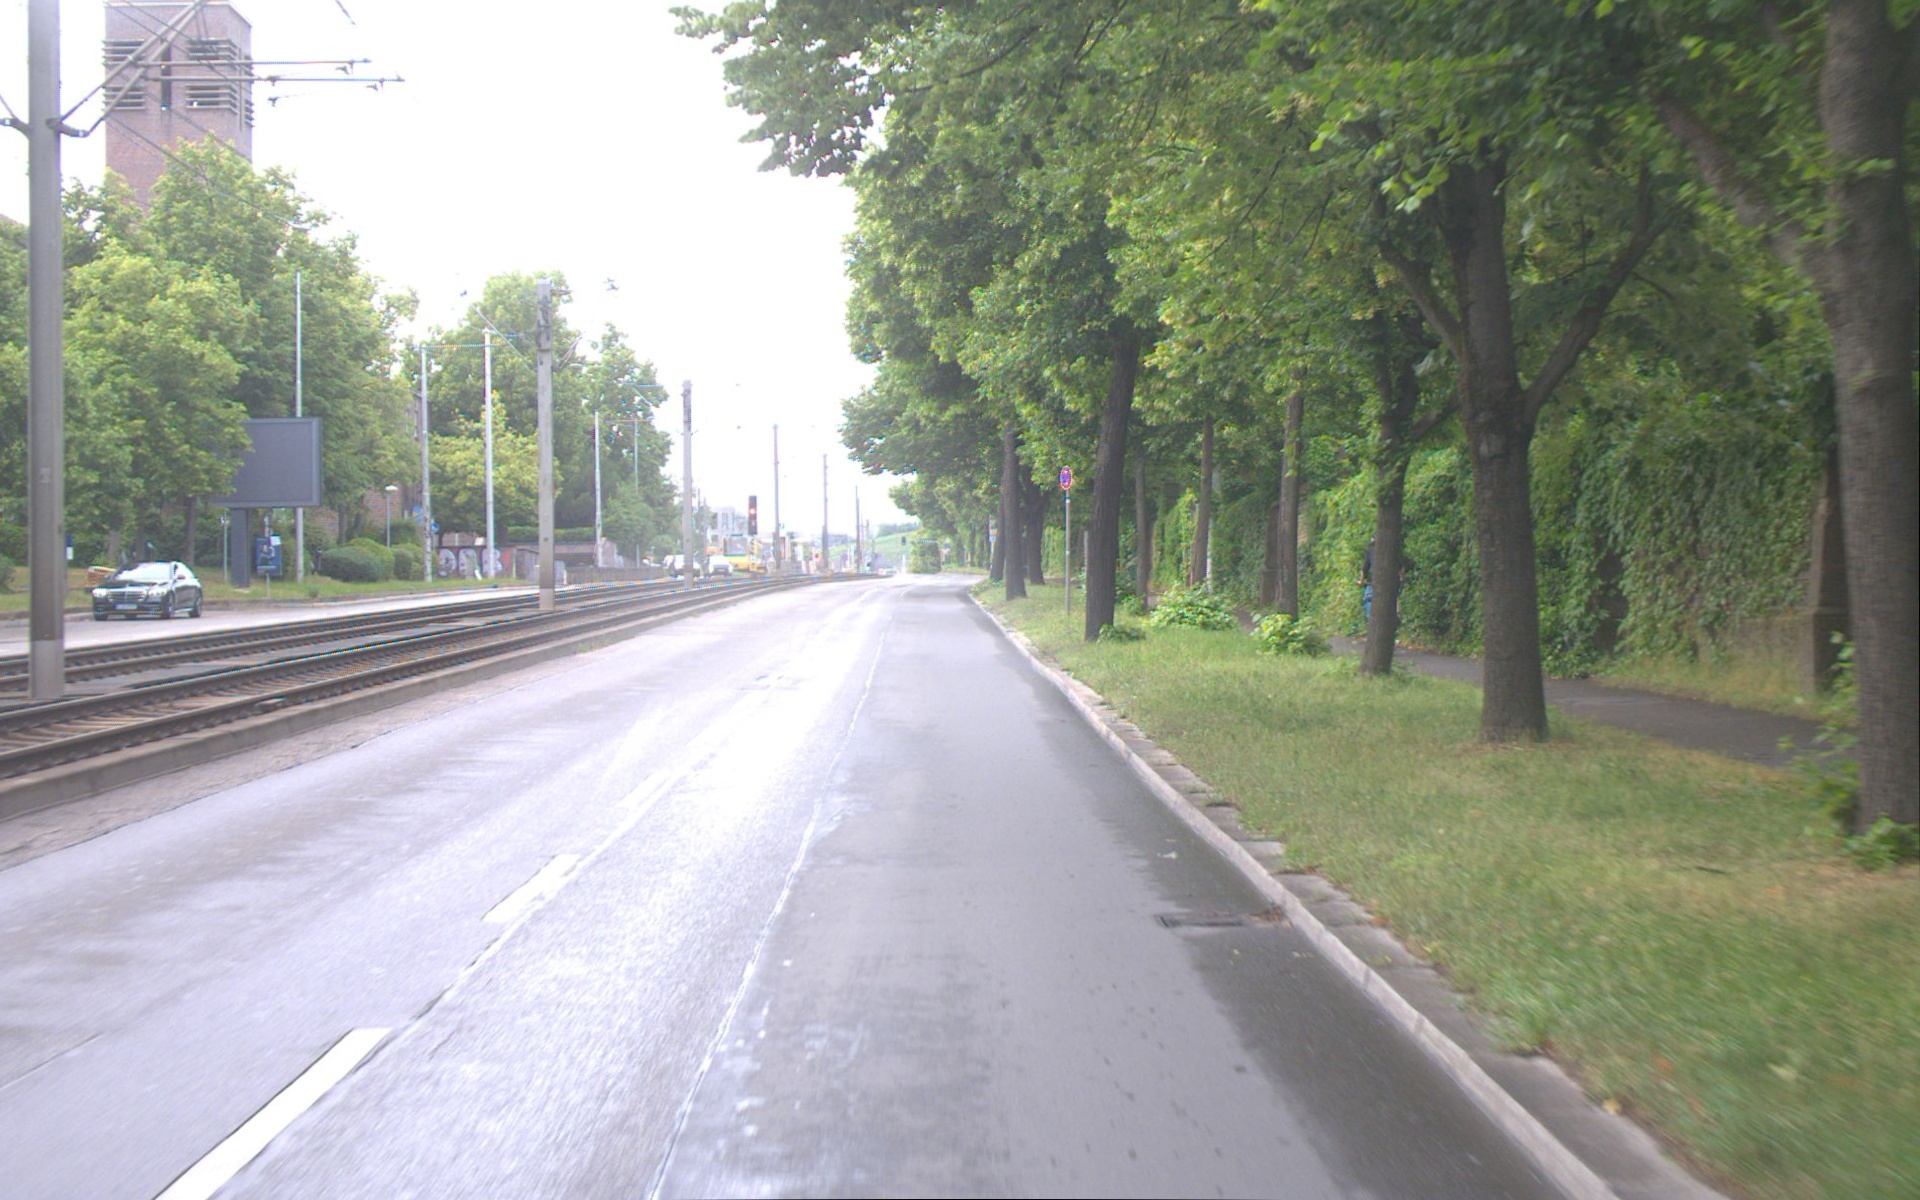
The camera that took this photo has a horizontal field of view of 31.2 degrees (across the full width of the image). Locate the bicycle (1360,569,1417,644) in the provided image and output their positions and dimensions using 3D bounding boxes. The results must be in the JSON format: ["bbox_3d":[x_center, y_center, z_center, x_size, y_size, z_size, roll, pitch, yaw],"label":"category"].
[{"bbox_3d":[5.584,0.071,44.891,0.543,0.945,2.549,0,1,3],"label":"bicycle"}]

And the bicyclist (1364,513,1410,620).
[{"bbox_3d":[5.575,-0.443,44.887,0.535,1.385,0.666,0,1,2],"label":"bicyclist"}]

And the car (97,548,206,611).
[{"bbox_3d":[-20.438,-0.536,87.075,1.794,1.525,4.622,0,1,-2],"label":"car"}]

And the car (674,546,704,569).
[{"bbox_3d":[-19.798,-3.079,250.827,2.012,1.650,4.618,0,1,-7],"label":"car"}]
